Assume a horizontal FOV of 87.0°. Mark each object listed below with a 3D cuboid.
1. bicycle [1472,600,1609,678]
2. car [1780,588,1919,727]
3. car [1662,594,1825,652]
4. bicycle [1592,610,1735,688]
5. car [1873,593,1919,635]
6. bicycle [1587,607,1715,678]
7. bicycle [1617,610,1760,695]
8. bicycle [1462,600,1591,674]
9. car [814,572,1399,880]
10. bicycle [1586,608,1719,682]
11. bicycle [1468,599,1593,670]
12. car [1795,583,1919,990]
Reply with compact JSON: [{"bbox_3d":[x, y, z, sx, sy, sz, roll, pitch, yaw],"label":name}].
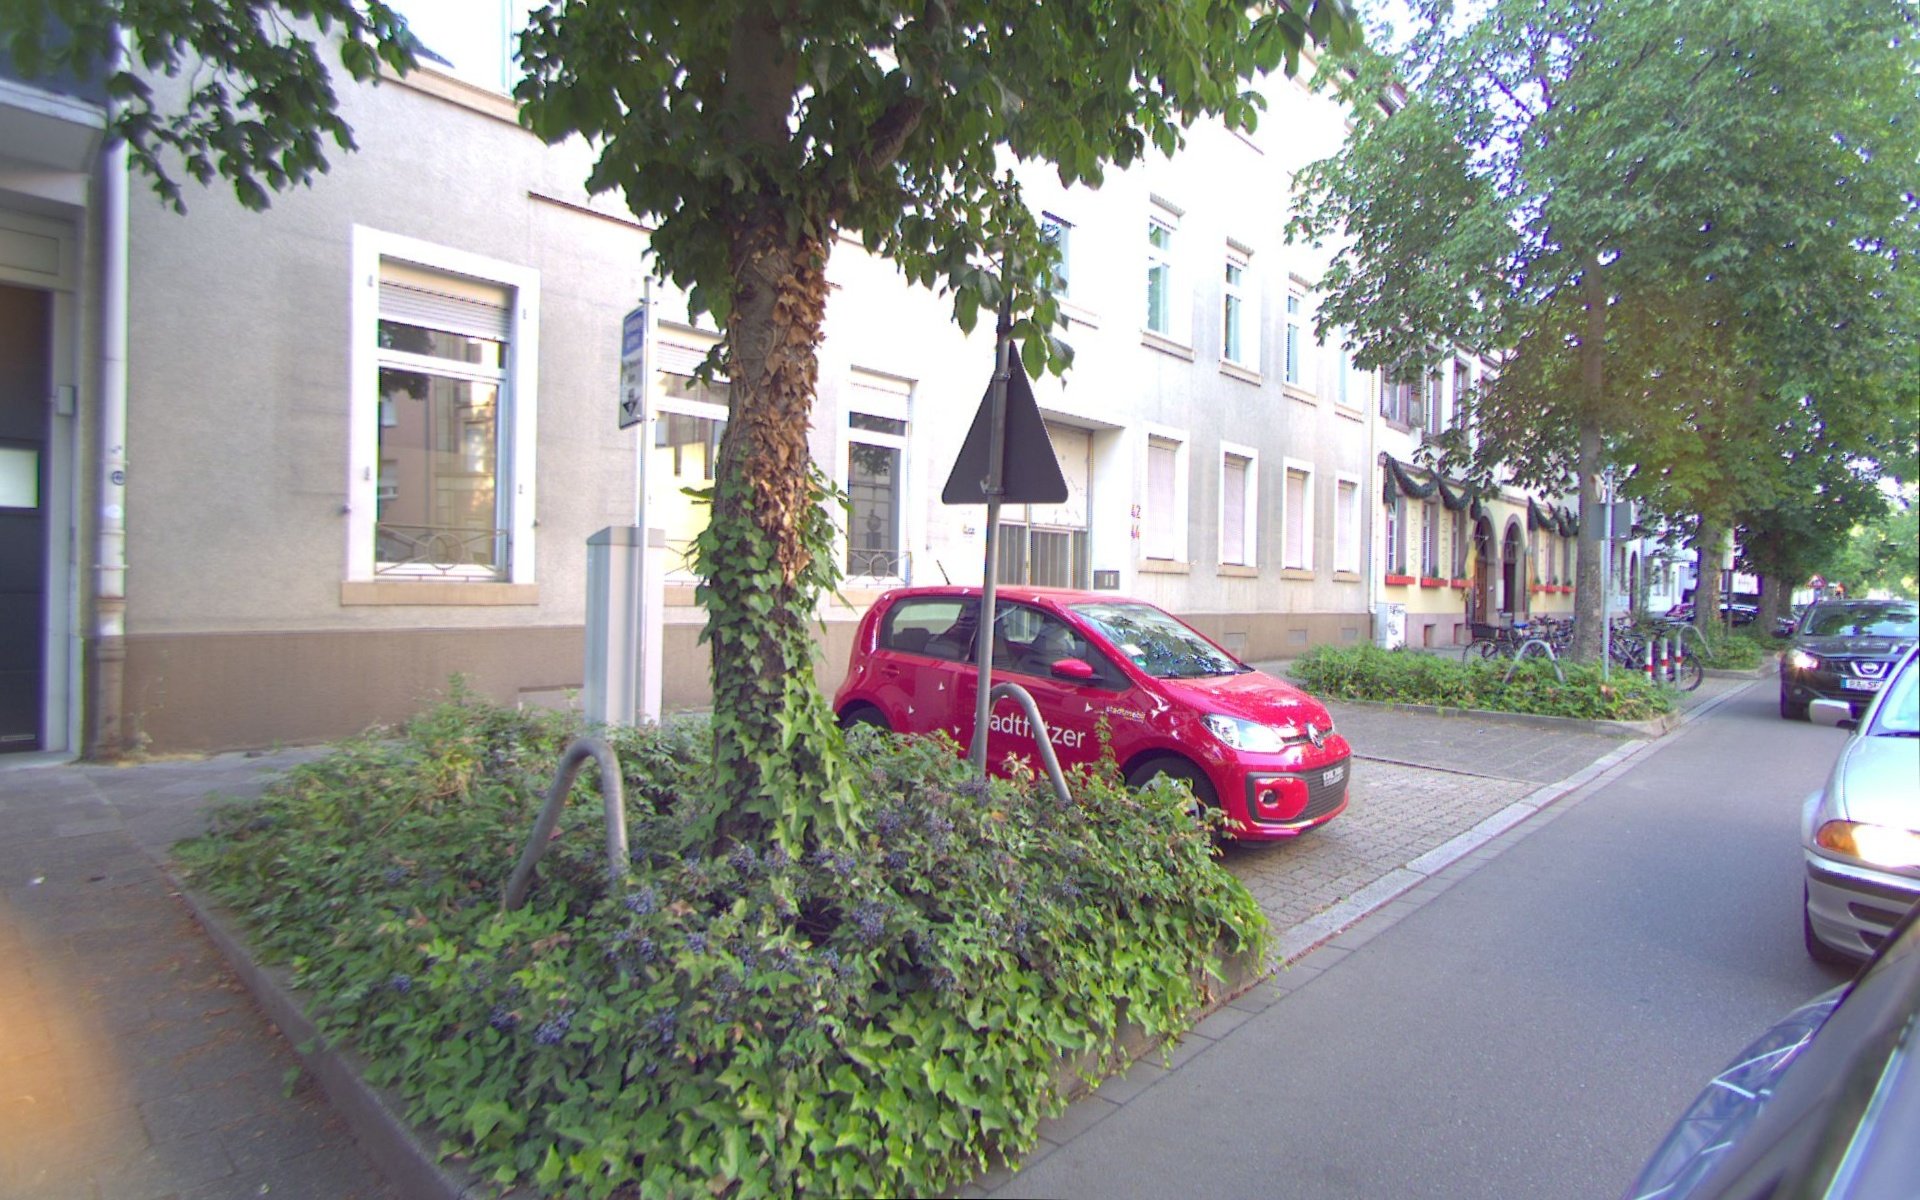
[{"bbox_3d":[10.079,0.654,17.622,2.014,1.242,0.529,2,1,33],"label":"bicycle"},{"bbox_3d":[12.153,0.658,13.258,1.802,1.571,3.935,2,1,45],"label":"car"},{"bbox_3d":[26.608,0.727,34.453,4.232,1.761,1.715,2,1,43],"label":"car"},{"bbox_3d":[12.350,0.829,17.819,2.019,1.242,0.528,2,1,39],"label":"bicycle"},{"bbox_3d":[37.724,0.538,40.375,1.802,1.571,3.936,2,1,44],"label":"car"},{"bbox_3d":[13.465,0.805,19.766,2.019,1.242,0.528,2,1,39],"label":"bicycle"},{"bbox_3d":[11.847,0.827,16.533,1.835,1.242,0.529,2,1,33],"label":"bicycle"},{"bbox_3d":[10.295,0.645,18.432,2.014,1.242,0.529,2,1,33],"label":"bicycle"},{"bbox_3d":[0.810,0.584,6.821,3.609,1.495,1.639,2,1,42],"label":"car"},{"bbox_3d":[12.985,0.814,19.013,2.019,1.242,0.528,2,1,39],"label":"bicycle"},{"bbox_3d":[10.926,0.633,19.426,2.017,1.242,0.529,2,1,37],"label":"bicycle"},{"bbox_3d":[5.430,0.685,4.686,4.358,1.460,1.710,0,1,-41],"label":"car"}]
